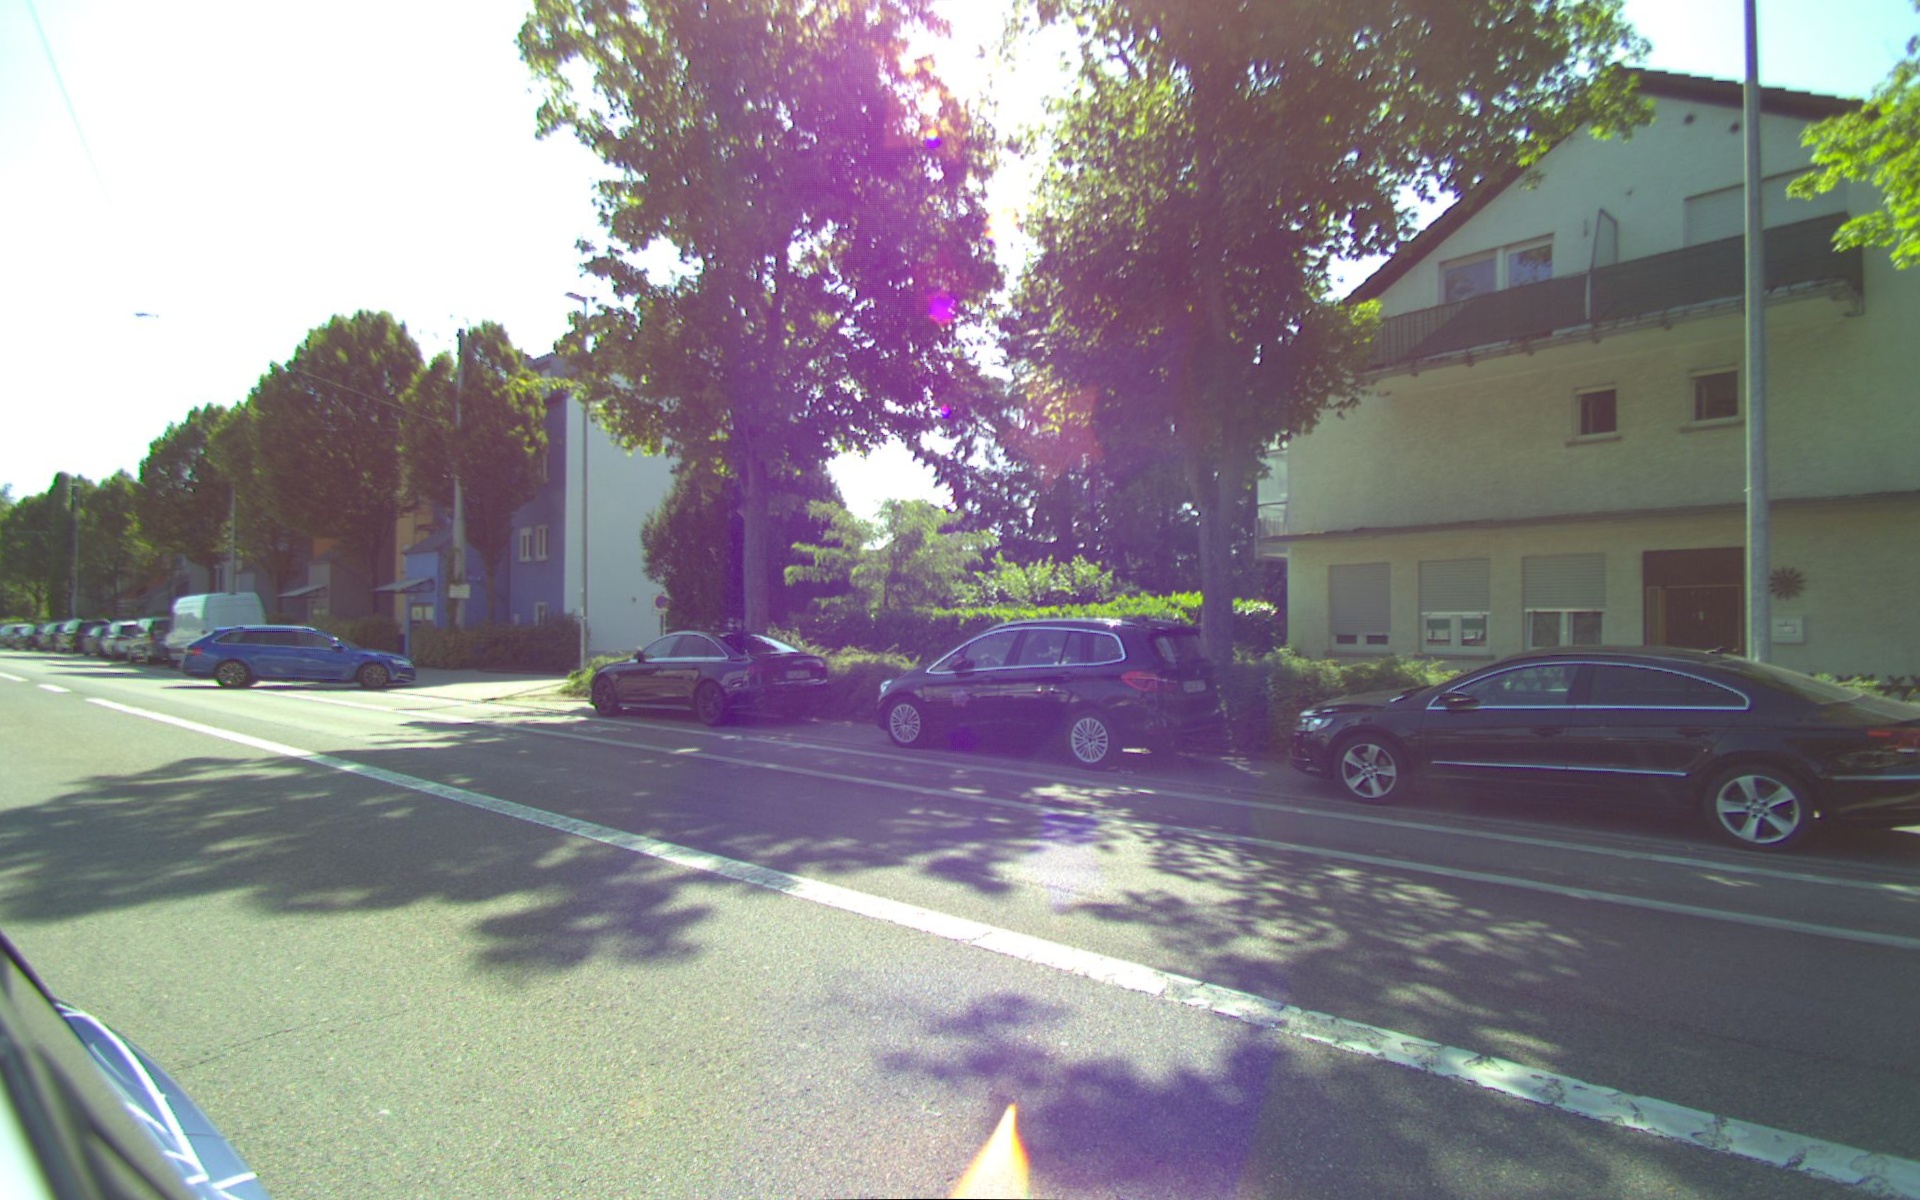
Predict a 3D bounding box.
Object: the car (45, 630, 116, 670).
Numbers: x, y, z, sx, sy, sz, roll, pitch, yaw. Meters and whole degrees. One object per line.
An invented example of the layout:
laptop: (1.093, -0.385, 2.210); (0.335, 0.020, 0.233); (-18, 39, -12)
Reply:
car: (-45.919, 2.601, 52.820); (4.766, 1.818, 1.974); (-2, 3, 40)

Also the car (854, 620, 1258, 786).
car: (0.993, 1.090, 12.198); (4.619, 1.583, 1.844); (-2, -1, 41)

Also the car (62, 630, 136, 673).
car: (-42.292, 2.509, 49.662); (4.253, 1.818, 1.974); (-2, 3, 40)

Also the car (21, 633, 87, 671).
car: (-50.434, 2.850, 56.294); (4.766, 1.818, 1.974); (-2, 3, 40)

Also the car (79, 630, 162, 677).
car: (-38.199, 2.396, 46.015); (4.766, 1.818, 1.974); (-2, 3, 40)

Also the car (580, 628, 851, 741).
car: (-4.064, 1.262, 16.410); (4.616, 1.583, 1.845); (-2, -2, 39)

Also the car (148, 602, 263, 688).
car: (-27.531, 1.608, 36.828); (6.212, 2.713, 1.973); (-2, 3, 42)

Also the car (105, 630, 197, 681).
car: (-33.647, 2.287, 42.067); (4.766, 1.818, 1.974); (-2, 3, 40)

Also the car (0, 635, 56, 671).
car: (-55.131, 3.085, 59.683); (4.766, 1.818, 1.974); (-2, 3, 40)

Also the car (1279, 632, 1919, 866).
car: (5.269, 1.028, 8.438); (4.619, 1.426, 1.844); (-2, -1, 41)

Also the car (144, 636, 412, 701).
car: (-16.105, 1.650, 24.265); (4.987, 1.441, 1.897); (2, -3, -23)

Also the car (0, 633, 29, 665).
car: (-60.256, 3.110, 63.520); (4.766, 1.818, 1.974); (-2, 3, 40)
